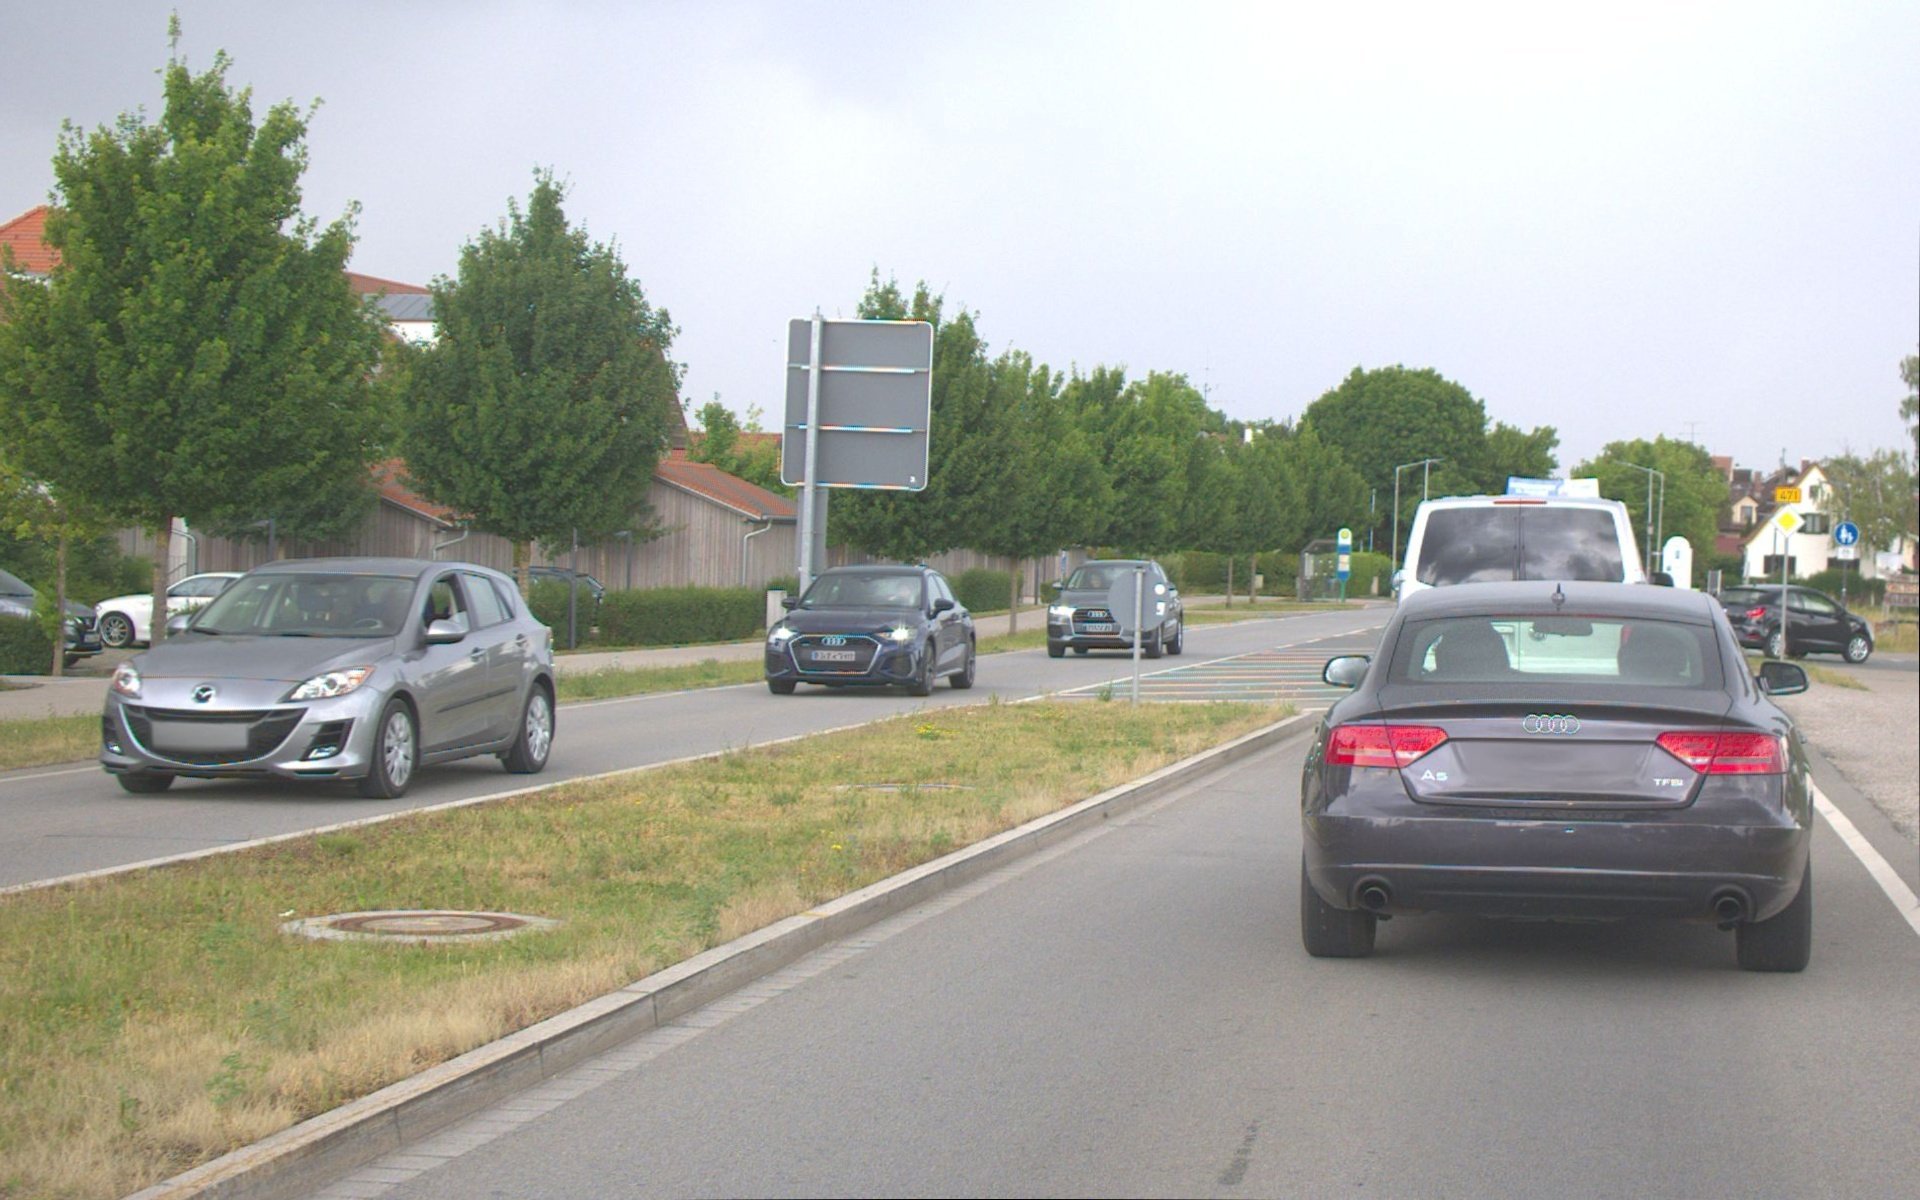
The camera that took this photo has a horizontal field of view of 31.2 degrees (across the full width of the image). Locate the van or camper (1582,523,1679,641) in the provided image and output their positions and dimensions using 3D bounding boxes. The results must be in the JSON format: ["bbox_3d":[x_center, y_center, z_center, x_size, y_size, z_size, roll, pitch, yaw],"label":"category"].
[{"bbox_3d":[20.192,-0.510,103.732,2.626,3.312,6.818,2,0,10],"label":"van or camper"}]

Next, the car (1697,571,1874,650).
[{"bbox_3d":[15.846,0.204,65.940,3.502,1.368,1.443,2,1,-40],"label":"car"}]

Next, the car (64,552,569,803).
[{"bbox_3d":[-3.984,0.417,22.034,1.731,1.405,4.204,1,1,11],"label":"car"}]

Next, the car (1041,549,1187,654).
[{"bbox_3d":[2.537,0.011,55.758,1.868,1.568,3.998,2,1,9],"label":"car"}]

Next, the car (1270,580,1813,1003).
[{"bbox_3d":[2.257,0.629,13.585,1.784,1.387,4.131,1,0,9],"label":"car"}]

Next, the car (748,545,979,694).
[{"bbox_3d":[-1.027,0.178,38.765,1.868,1.568,3.999,1,1,9],"label":"car"}]

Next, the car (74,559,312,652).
[{"bbox_3d":[-13.566,0.084,60.894,3.730,1.477,1.686,2,1,8],"label":"car"}]

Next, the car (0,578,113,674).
[{"bbox_3d":[-14.930,0.327,51.462,3.916,1.310,1.842,2,1,9],"label":"car"}]

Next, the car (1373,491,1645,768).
[{"bbox_3d":[4.133,0.203,26.002,1.868,1.927,3.998,0,0,9],"label":"car"}]

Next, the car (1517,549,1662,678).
[{"bbox_3d":[8.591,0.154,46.700,1.777,1.612,3.998,2,1,12],"label":"car"}]
